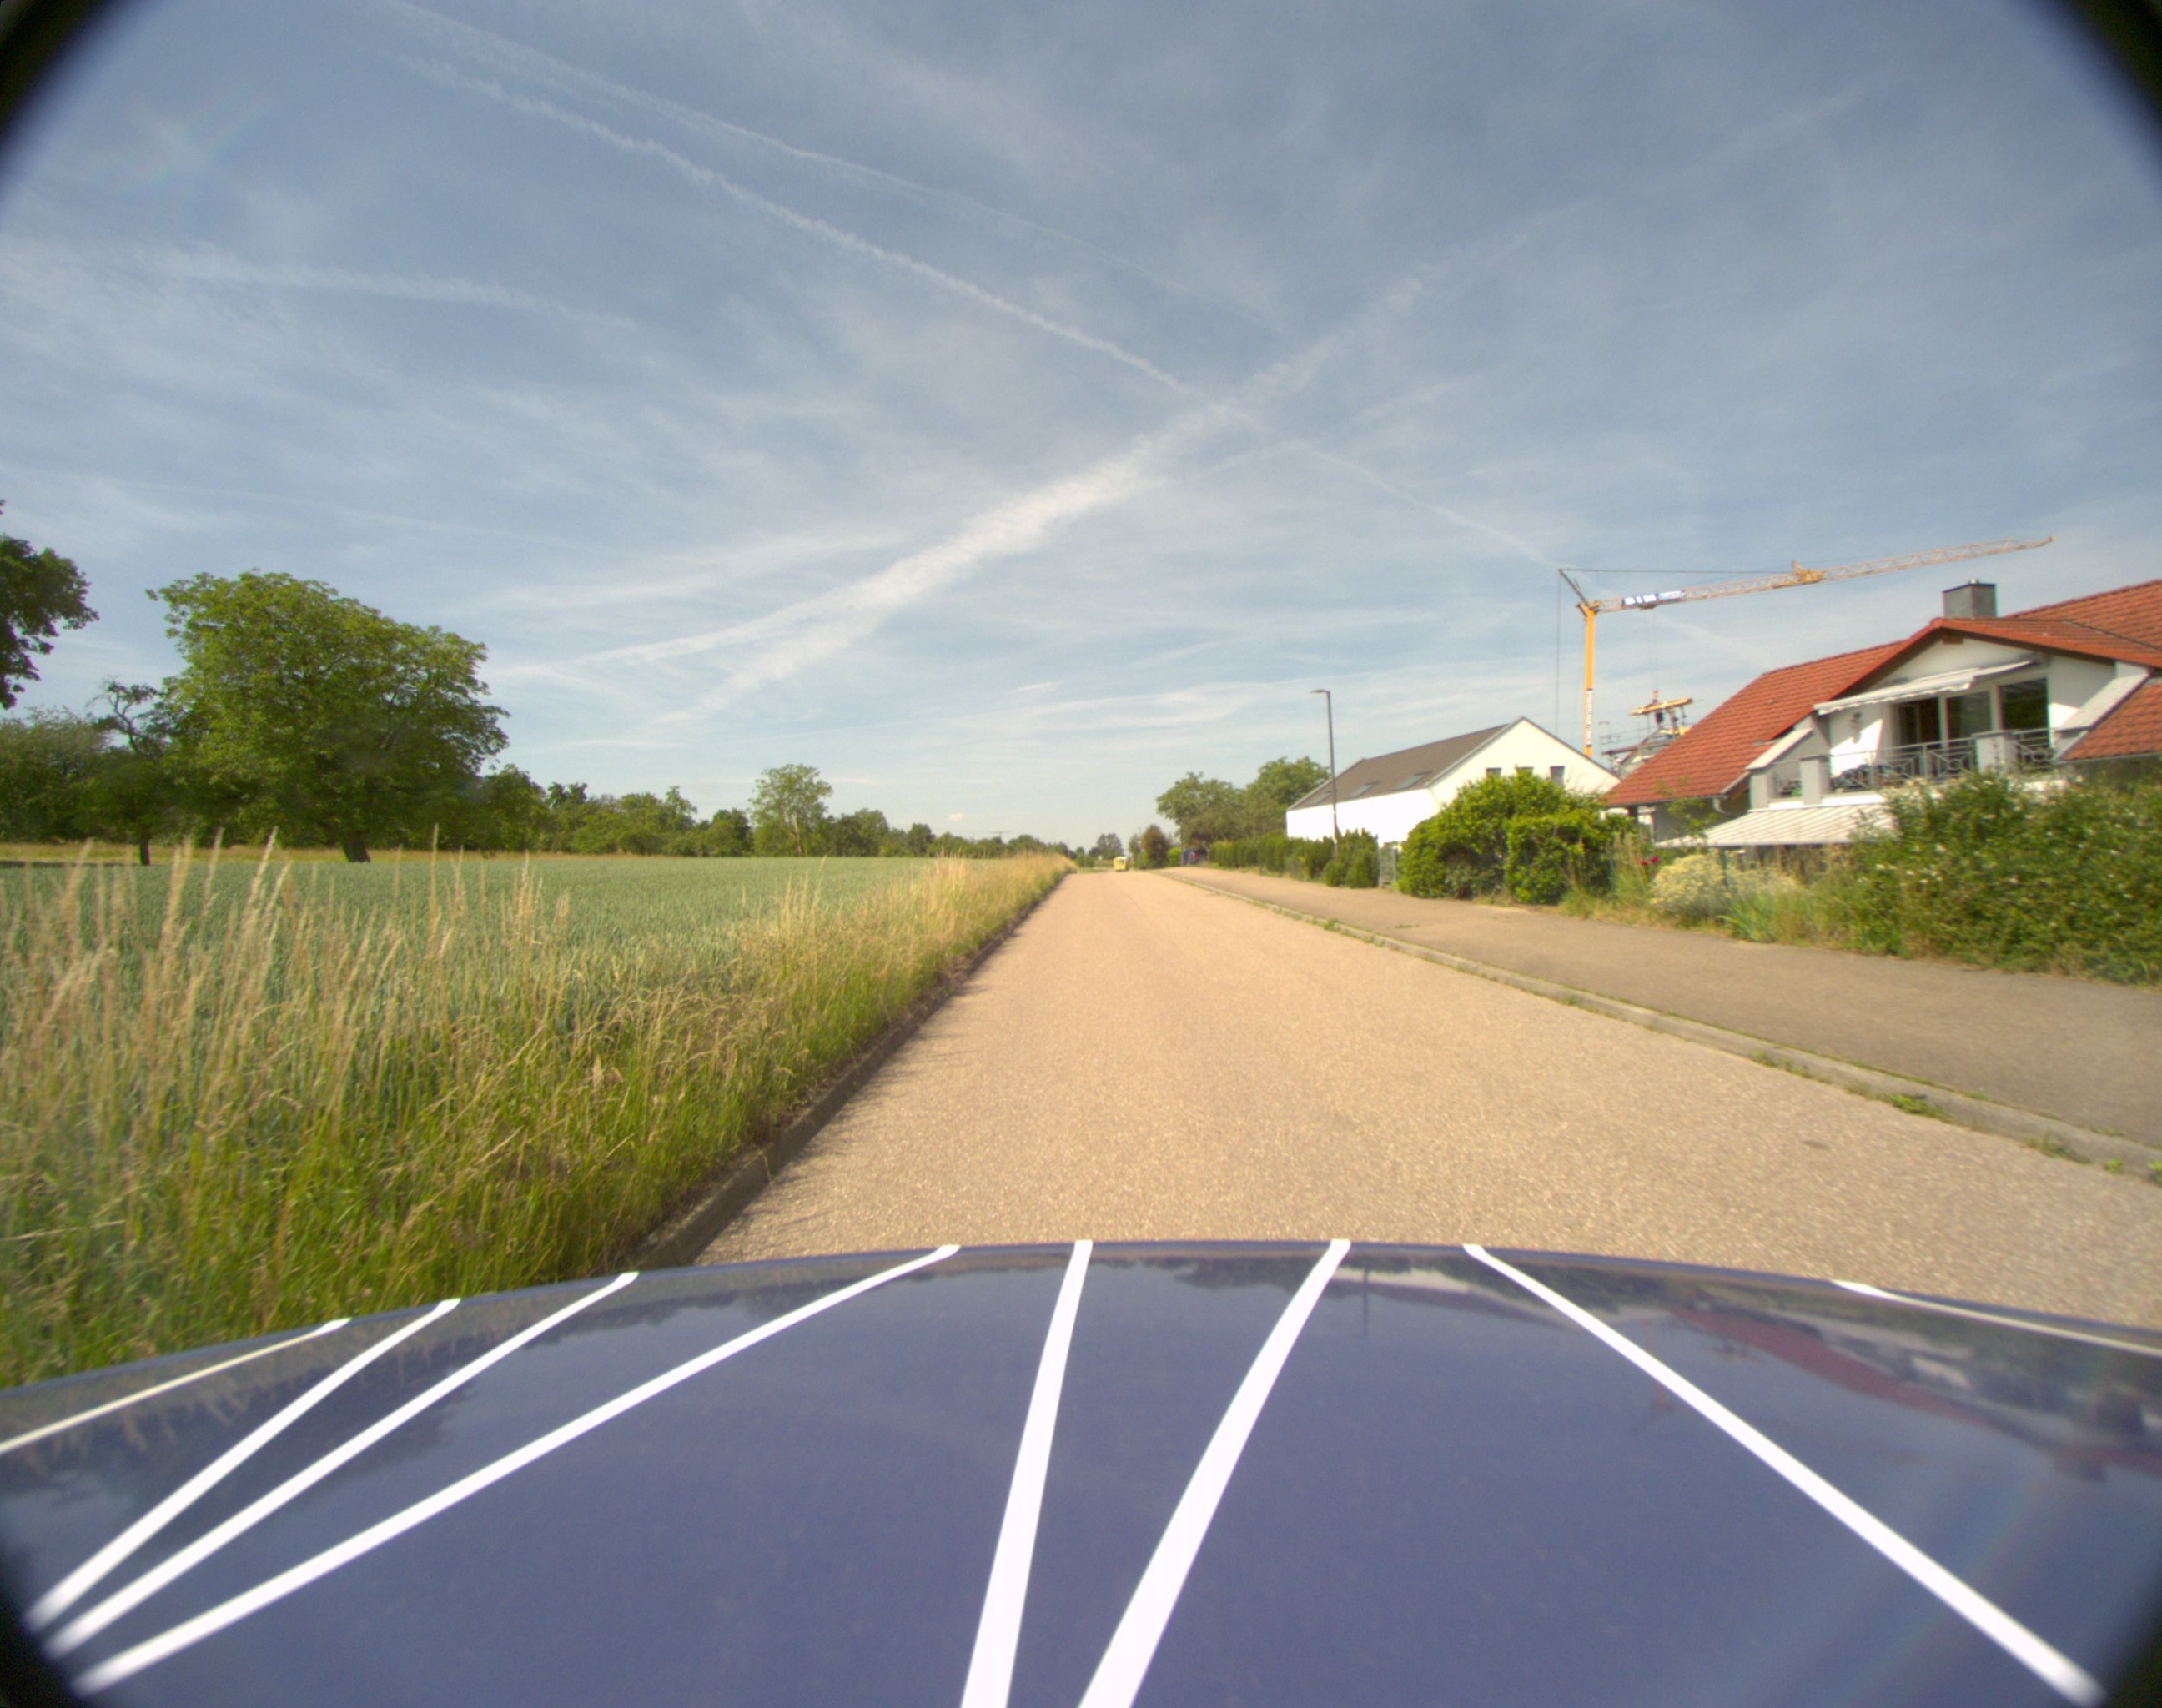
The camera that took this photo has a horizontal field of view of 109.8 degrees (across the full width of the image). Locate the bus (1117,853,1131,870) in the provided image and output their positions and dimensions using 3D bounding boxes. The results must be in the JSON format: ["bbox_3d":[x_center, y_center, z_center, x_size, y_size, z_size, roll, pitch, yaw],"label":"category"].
[{"bbox_3d":[9.980,1.722,176.517,3.066,3.557,9.456,-2,1,4],"label":"bus"}]

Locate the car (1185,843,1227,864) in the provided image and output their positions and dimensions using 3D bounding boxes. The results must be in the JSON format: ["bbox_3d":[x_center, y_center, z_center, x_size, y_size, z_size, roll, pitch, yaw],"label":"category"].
[{"bbox_3d":[12.156,-0.078,74.067,3.885,1.802,1.801,-3,0,5],"label":"car"}]

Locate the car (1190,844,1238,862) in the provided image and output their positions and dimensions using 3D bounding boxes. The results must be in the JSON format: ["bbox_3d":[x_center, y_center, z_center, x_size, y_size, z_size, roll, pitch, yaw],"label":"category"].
[{"bbox_3d":[11.499,-0.071,65.930,3.885,1.314,1.801,-3,0,5],"label":"car"}]
